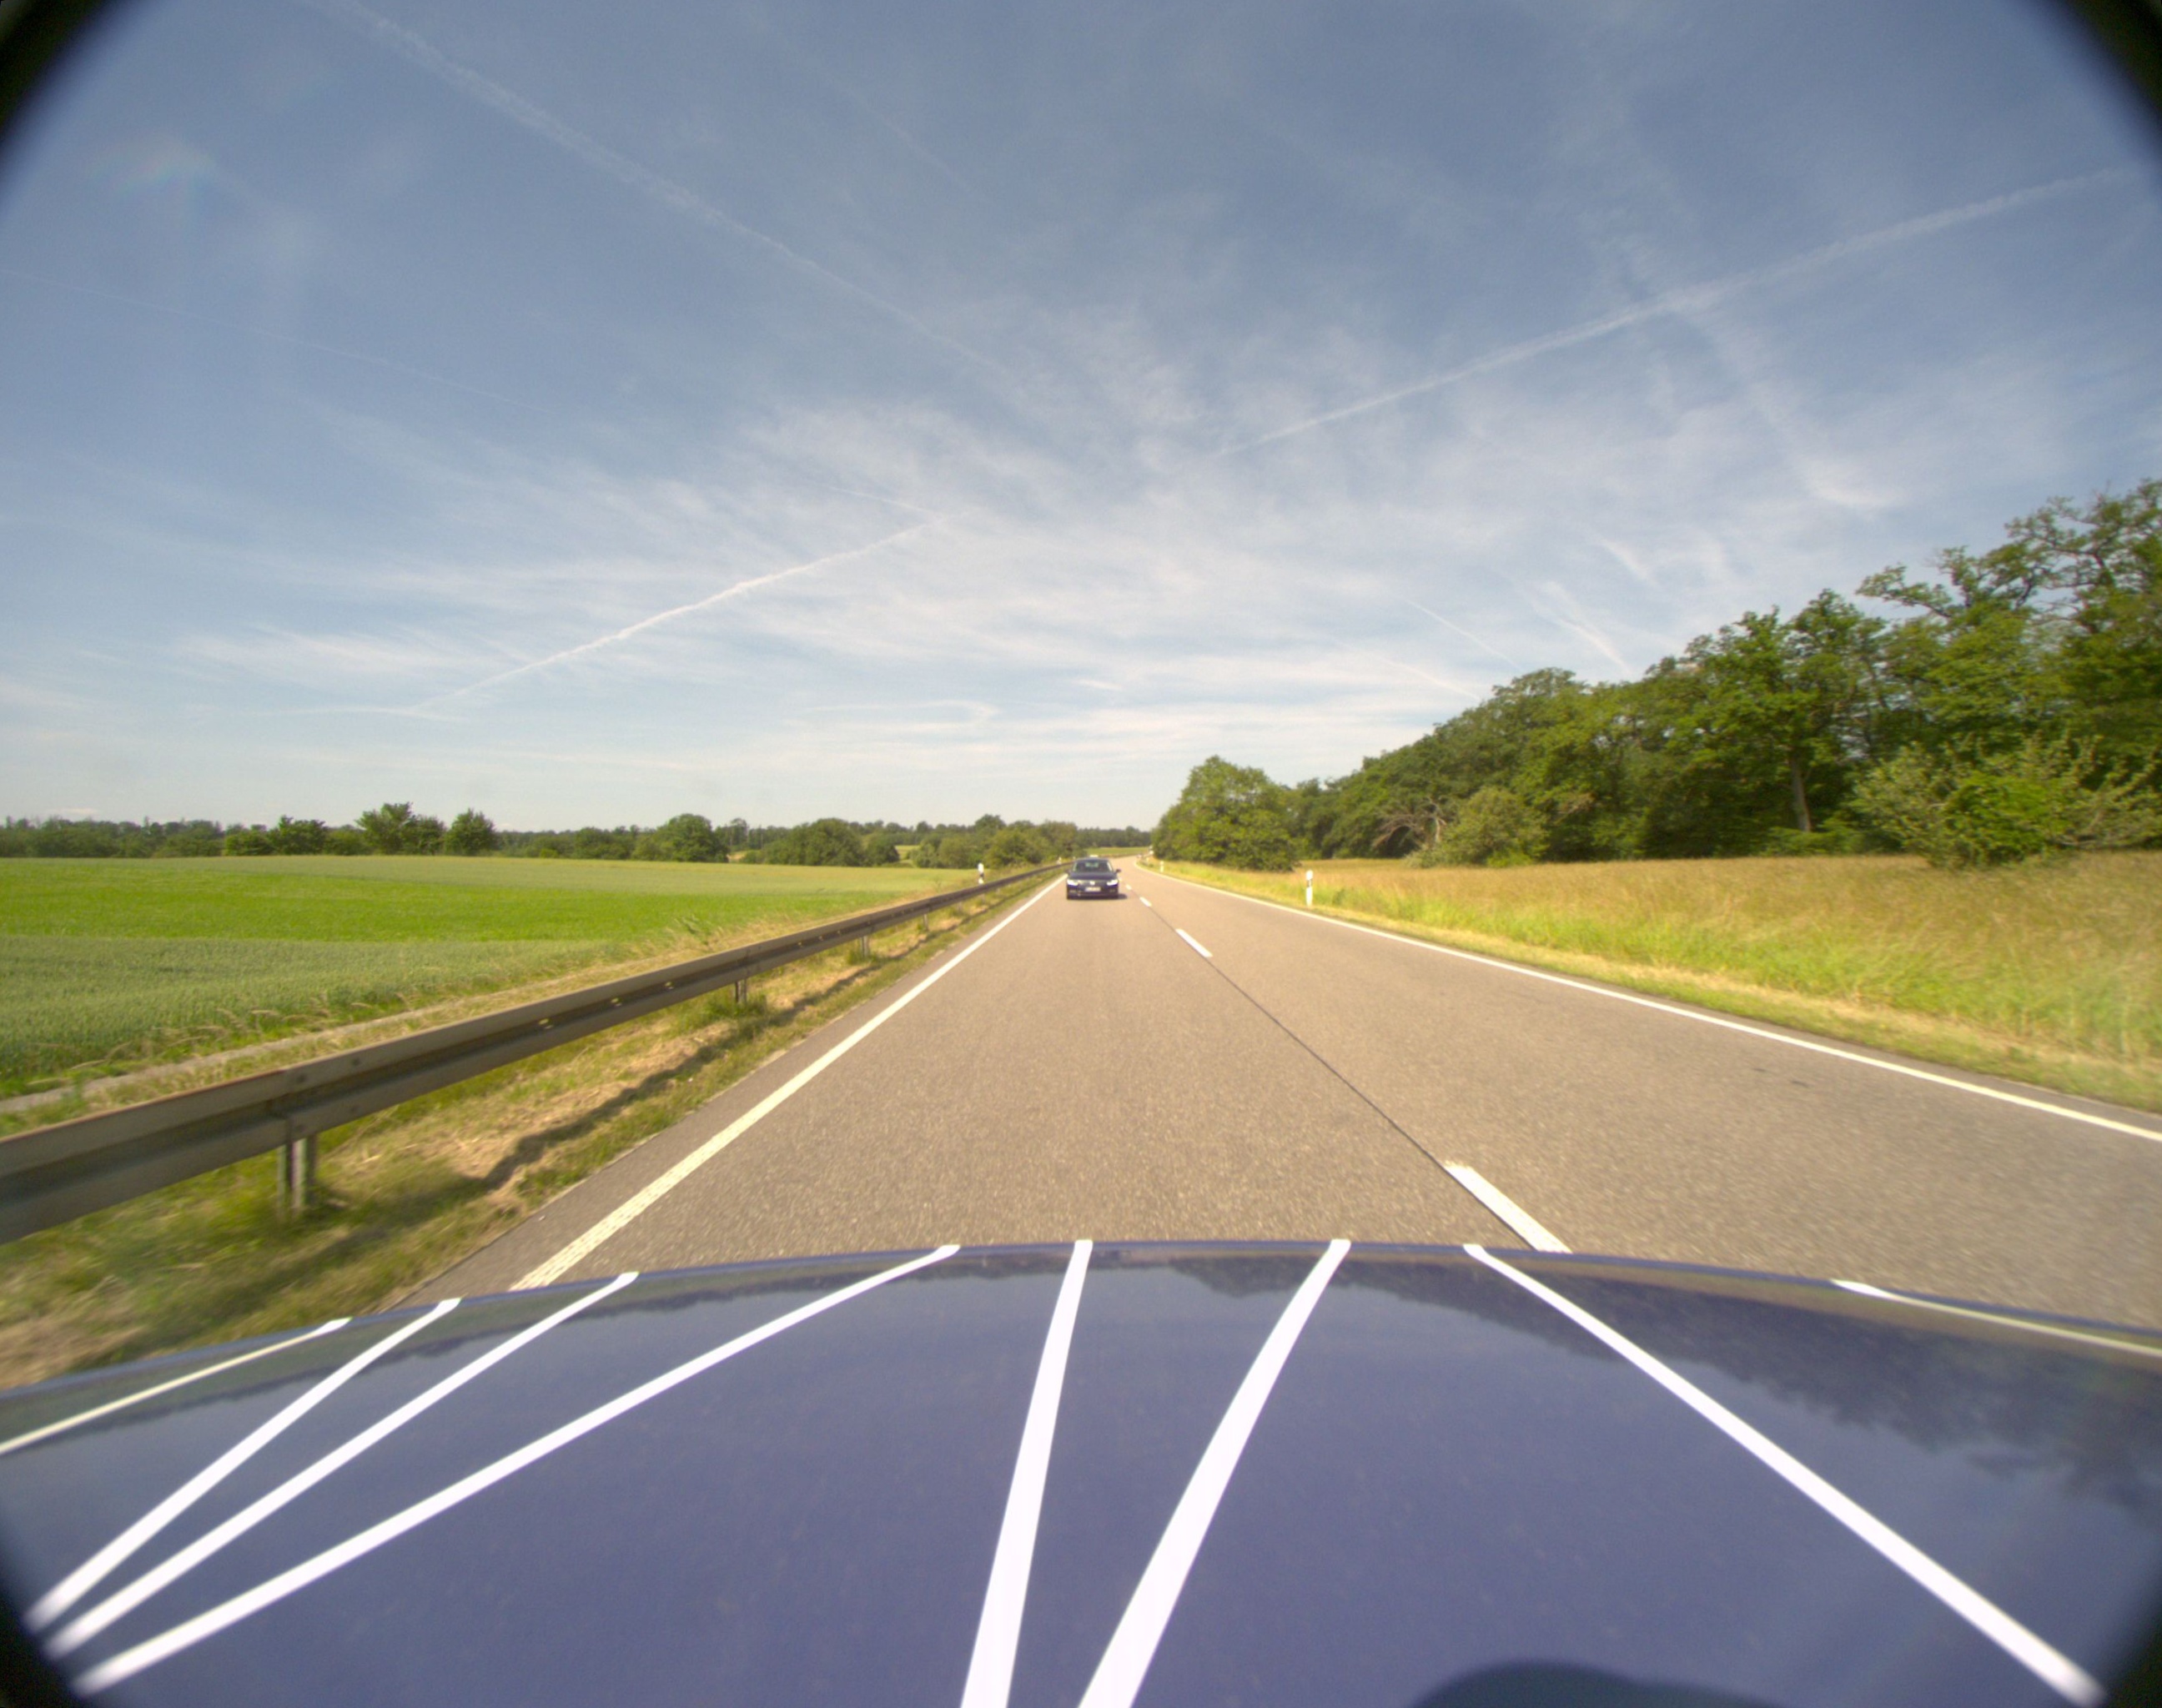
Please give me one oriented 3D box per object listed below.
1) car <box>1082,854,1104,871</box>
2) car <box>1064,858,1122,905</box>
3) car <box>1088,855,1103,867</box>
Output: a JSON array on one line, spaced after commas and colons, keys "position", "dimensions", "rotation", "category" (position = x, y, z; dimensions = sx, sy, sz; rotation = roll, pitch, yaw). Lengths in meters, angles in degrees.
[{"position": [1.083, 0.748, 69.270], "dimensions": [1.928, 1.501, 4.292], "rotation": [-1, 0, 1], "category": "car"}, {"position": [0.424, 0.886, 26.205], "dimensions": [1.821, 1.501, 4.501], "rotation": [0, 0, 1], "category": "car"}, {"position": [2.018, 0.971, 104.258], "dimensions": [1.928, 1.501, 4.292], "rotation": [0, 0, 0], "category": "car"}]
